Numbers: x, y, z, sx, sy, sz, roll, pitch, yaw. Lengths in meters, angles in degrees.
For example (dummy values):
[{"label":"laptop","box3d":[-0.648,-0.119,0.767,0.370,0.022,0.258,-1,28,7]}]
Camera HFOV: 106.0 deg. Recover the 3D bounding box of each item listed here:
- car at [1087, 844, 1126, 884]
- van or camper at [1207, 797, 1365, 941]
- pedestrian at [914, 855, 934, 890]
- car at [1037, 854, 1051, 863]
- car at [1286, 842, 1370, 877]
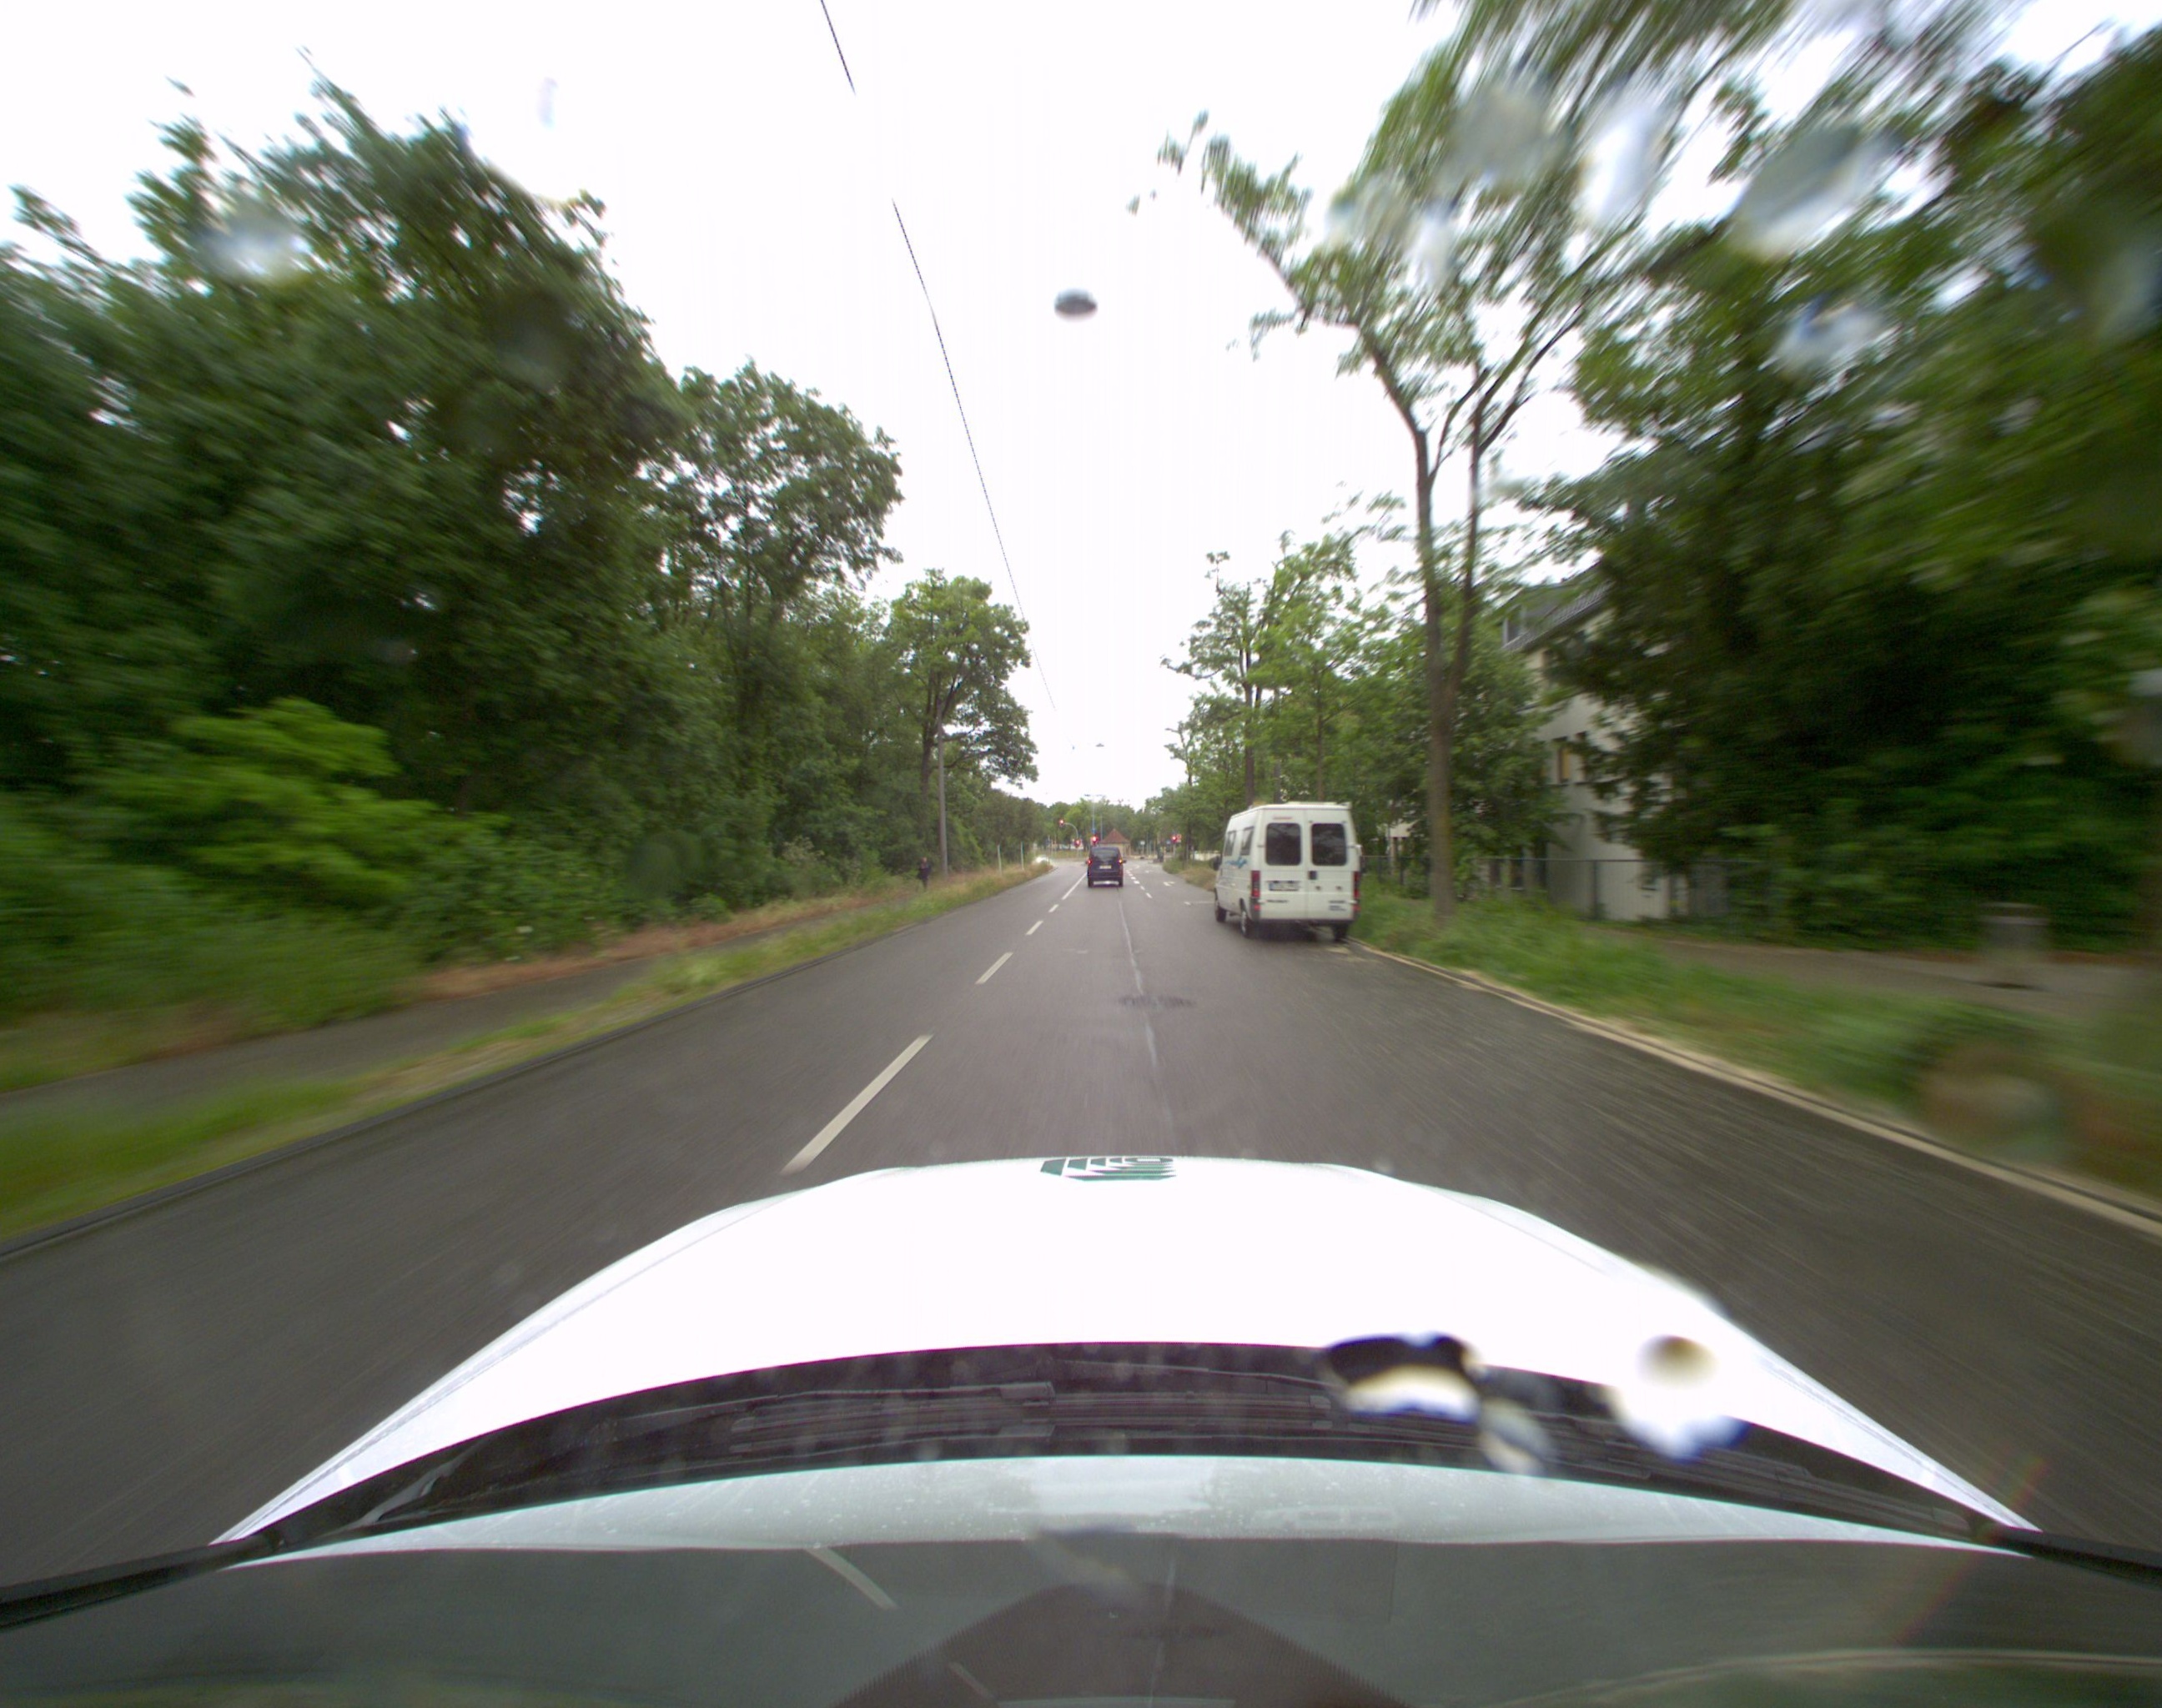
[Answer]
[{"label":"car","box3d":[1.191,0.448,38.152,1.725,1.786,4.002,0,0,2]},{"label":"van or camper","box3d":[4.038,0.267,17.124,2.029,2.479,5.640,1,0,2]},{"label":"pedestrian","box3d":[-7.447,0.865,38.603,0.778,1.608,0.732,-1,0,1]},{"label":"car","box3d":[-5.825,0.658,127.859,1.991,1.311,4.349,-3,0,-7]},{"label":"car","box3d":[13.353,0.277,44.303,4.275,1.817,1.881,0,0,12]}]
